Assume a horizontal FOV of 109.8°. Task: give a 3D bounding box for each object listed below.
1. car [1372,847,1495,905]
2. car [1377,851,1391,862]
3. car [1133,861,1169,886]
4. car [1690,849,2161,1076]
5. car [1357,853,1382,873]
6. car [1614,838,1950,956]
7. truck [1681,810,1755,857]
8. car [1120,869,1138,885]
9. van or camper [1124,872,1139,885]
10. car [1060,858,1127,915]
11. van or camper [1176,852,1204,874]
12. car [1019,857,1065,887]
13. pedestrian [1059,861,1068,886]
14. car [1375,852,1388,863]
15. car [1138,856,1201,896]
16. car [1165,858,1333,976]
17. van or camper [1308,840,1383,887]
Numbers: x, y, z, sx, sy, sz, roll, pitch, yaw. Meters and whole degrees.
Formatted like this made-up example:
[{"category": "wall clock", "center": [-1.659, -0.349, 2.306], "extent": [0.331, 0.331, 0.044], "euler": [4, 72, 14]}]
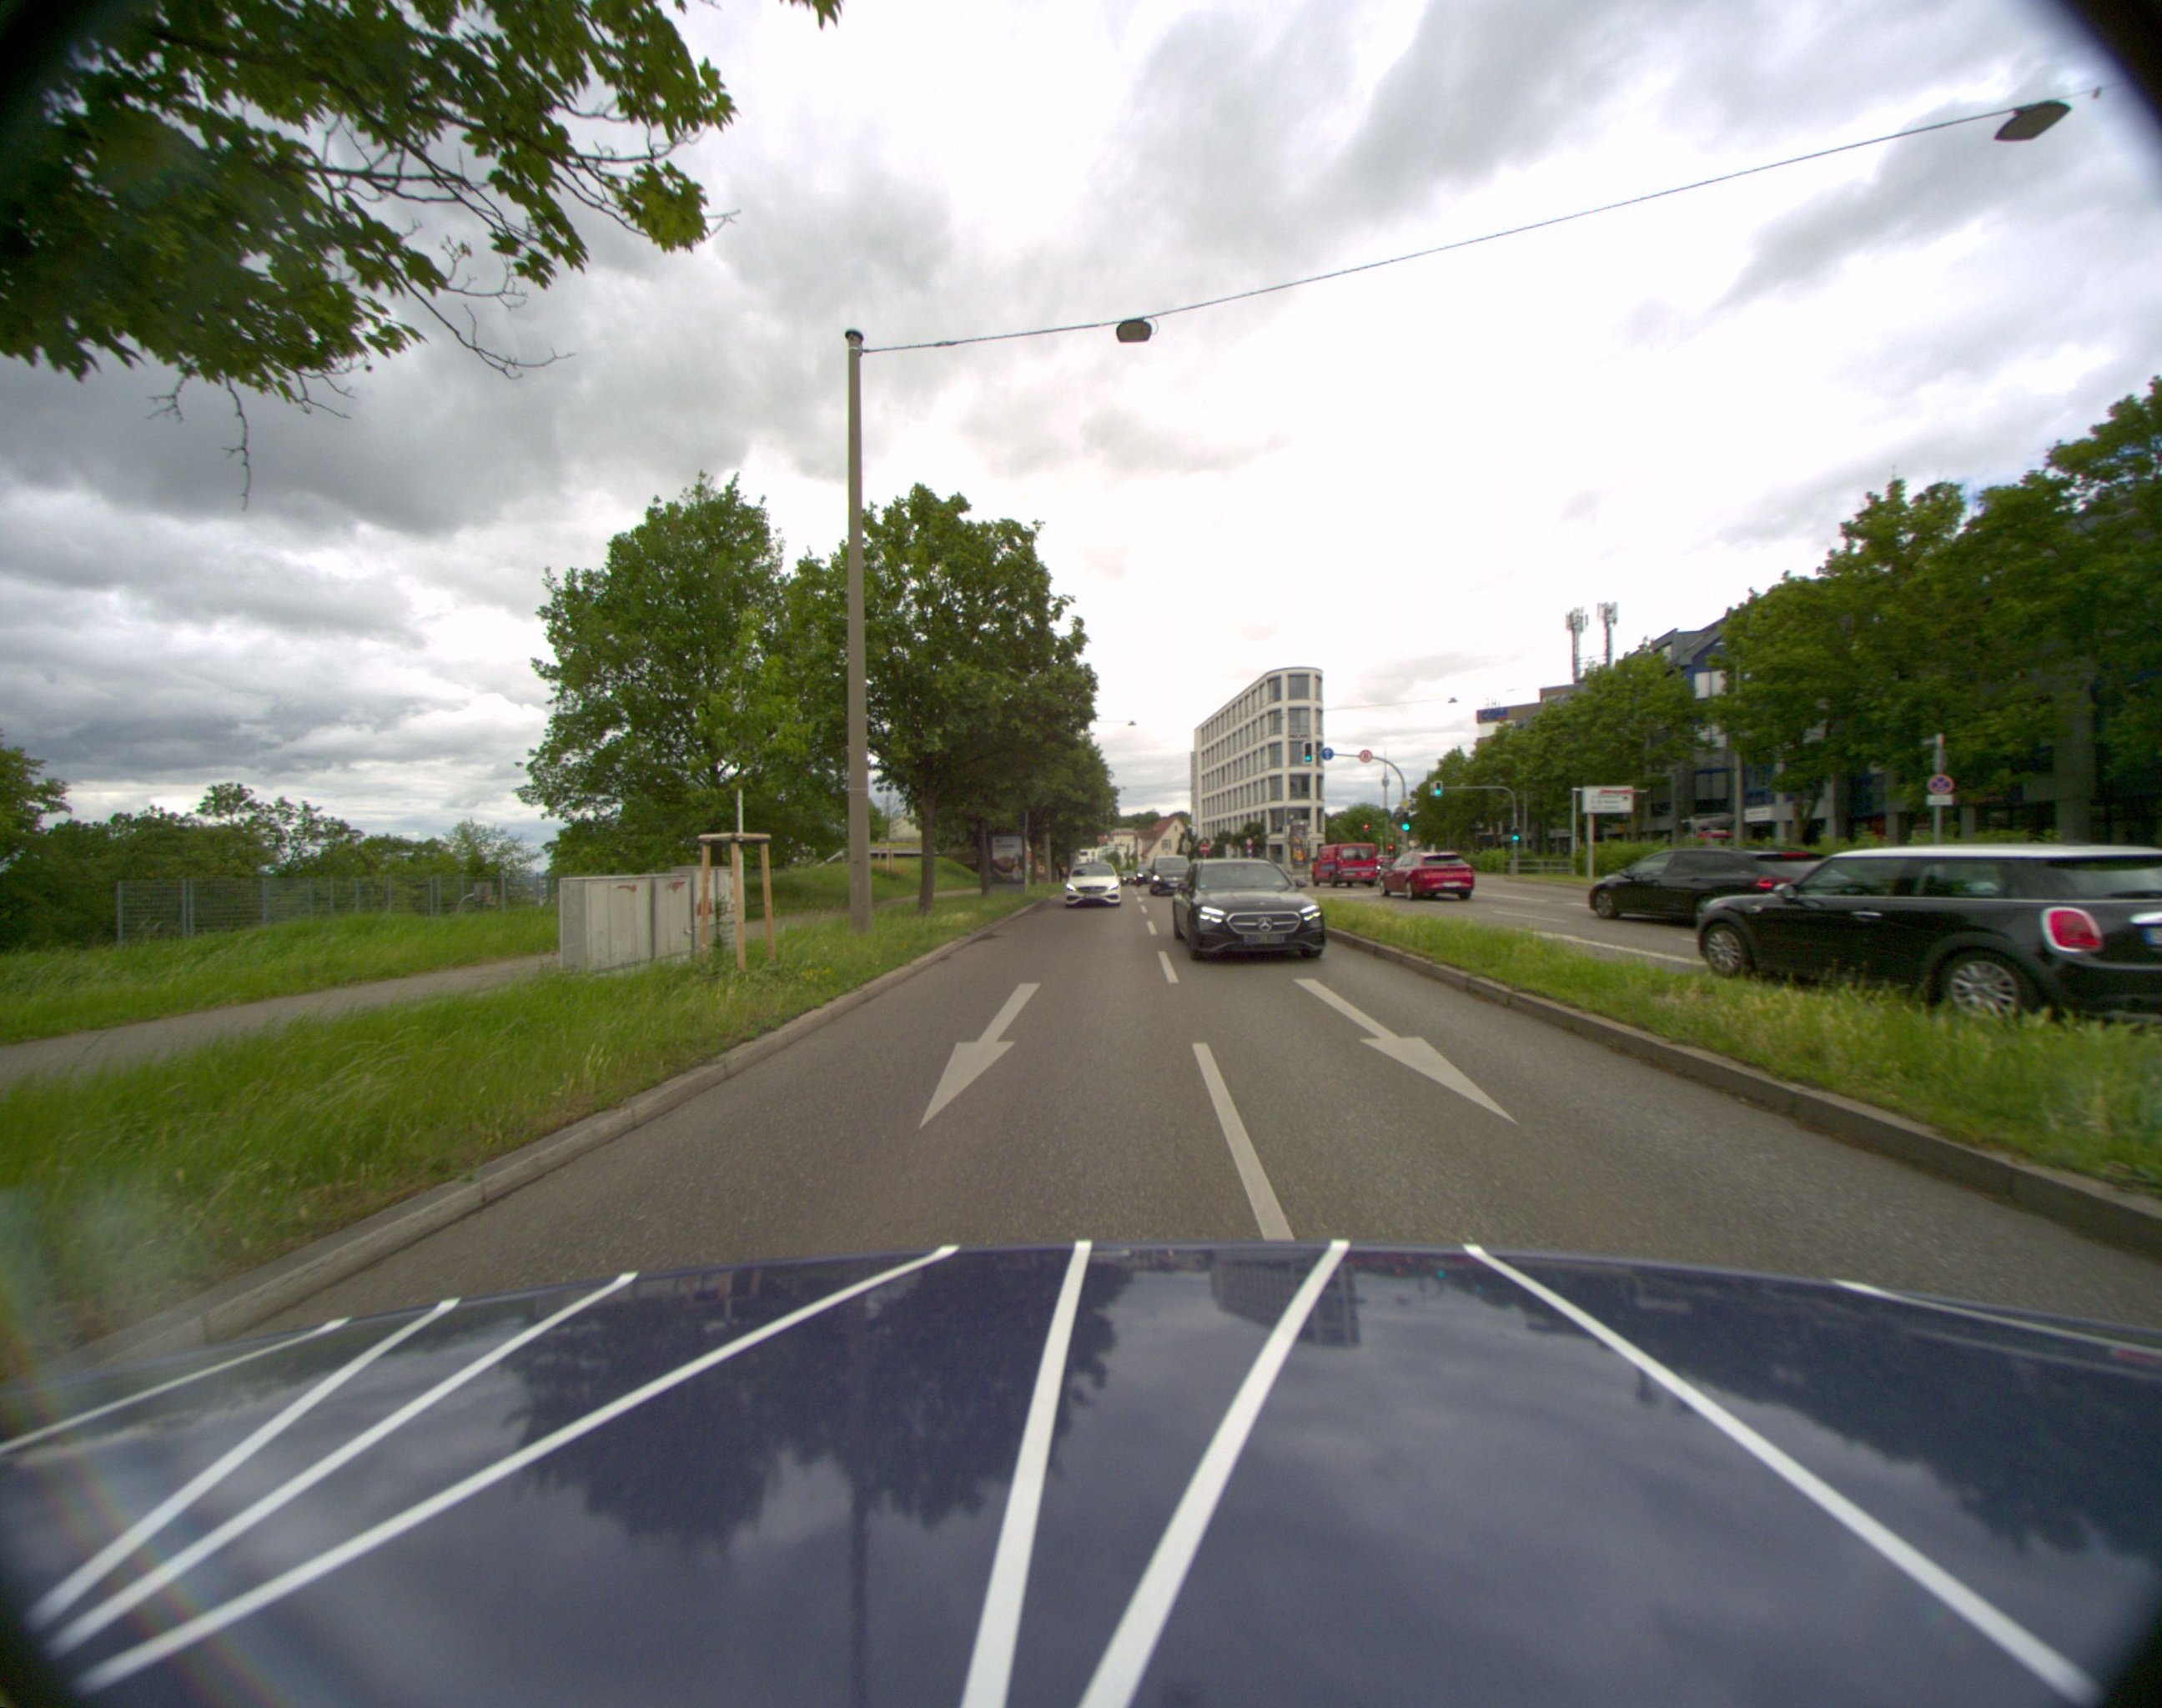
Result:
[{"category": "car", "center": [10.904, 0.608, 23.927], "extent": [1.998, 1.581, 4.836], "euler": [-2, 0, 5]}, {"category": "car", "center": [43.123, 0.356, 108.195], "extent": [1.715, 1.454, 4.447], "euler": [-4, -1, 21]}, {"category": "car", "center": [4.815, 1.396, 52.952], "extent": [1.879, 1.520, 4.001], "euler": [-1, -3, -4]}, {"category": "car", "center": [7.625, 0.708, 6.786], "extent": [1.617, 1.437, 3.653], "euler": [-1, 1, 4]}, {"category": "car", "center": [23.873, 0.756, 62.852], "extent": [1.778, 1.454, 4.447], "euler": [-4, -1, 21]}, {"category": "car", "center": [11.182, 0.582, 12.642], "extent": [1.729, 1.581, 4.330], "euler": [-2, 0, 3]}, {"category": "truck", "center": [36.610, -1.129, 43.813], "extent": [1.996, 2.371, 4.008], "euler": [-4, -3, 22]}, {"category": "car", "center": [5.417, 2.591, 85.757], "extent": [1.833, 1.699, 3.844], "euler": [-3, -3, 2]}, {"category": "van or camper", "center": [7.896, 3.828, 118.762], "extent": [1.999, 2.001, 4.450], "euler": [-1, -1, 0]}, {"category": "car", "center": [0.486, 0.962, 24.480], "extent": [1.808, 1.521, 4.001], "euler": [-4, 0, 4]}, {"category": "van or camper", "center": [10.069, 0.809, 70.412], "extent": [1.931, 1.926, 5.249], "euler": [-2, 0, 2]}, {"category": "car", "center": [-2.080, 0.951, 41.915], "extent": [1.998, 1.491, 4.395], "euler": [-2, 0, 4]}, {"category": "pedestrian", "center": [-1.311, 1.466, 56.372], "extent": [0.644, 1.844, 0.673], "euler": [-1, -2, -3]}, {"category": "car", "center": [45.666, 0.555, 115.312], "extent": [1.715, 1.454, 4.447], "euler": [-4, -1, 21]}, {"category": "car", "center": [3.601, 0.923, 31.662], "extent": [1.879, 1.520, 3.999], "euler": [-1, -1, -4]}, {"category": "car", "center": [2.483, 0.865, 12.332], "extent": [1.878, 1.521, 4.336], "euler": [-2, 0, 2]}, {"category": "van or camper", "center": [12.287, 0.410, 35.722], "extent": [1.998, 2.002, 5.198], "euler": [-2, 0, 4]}]
